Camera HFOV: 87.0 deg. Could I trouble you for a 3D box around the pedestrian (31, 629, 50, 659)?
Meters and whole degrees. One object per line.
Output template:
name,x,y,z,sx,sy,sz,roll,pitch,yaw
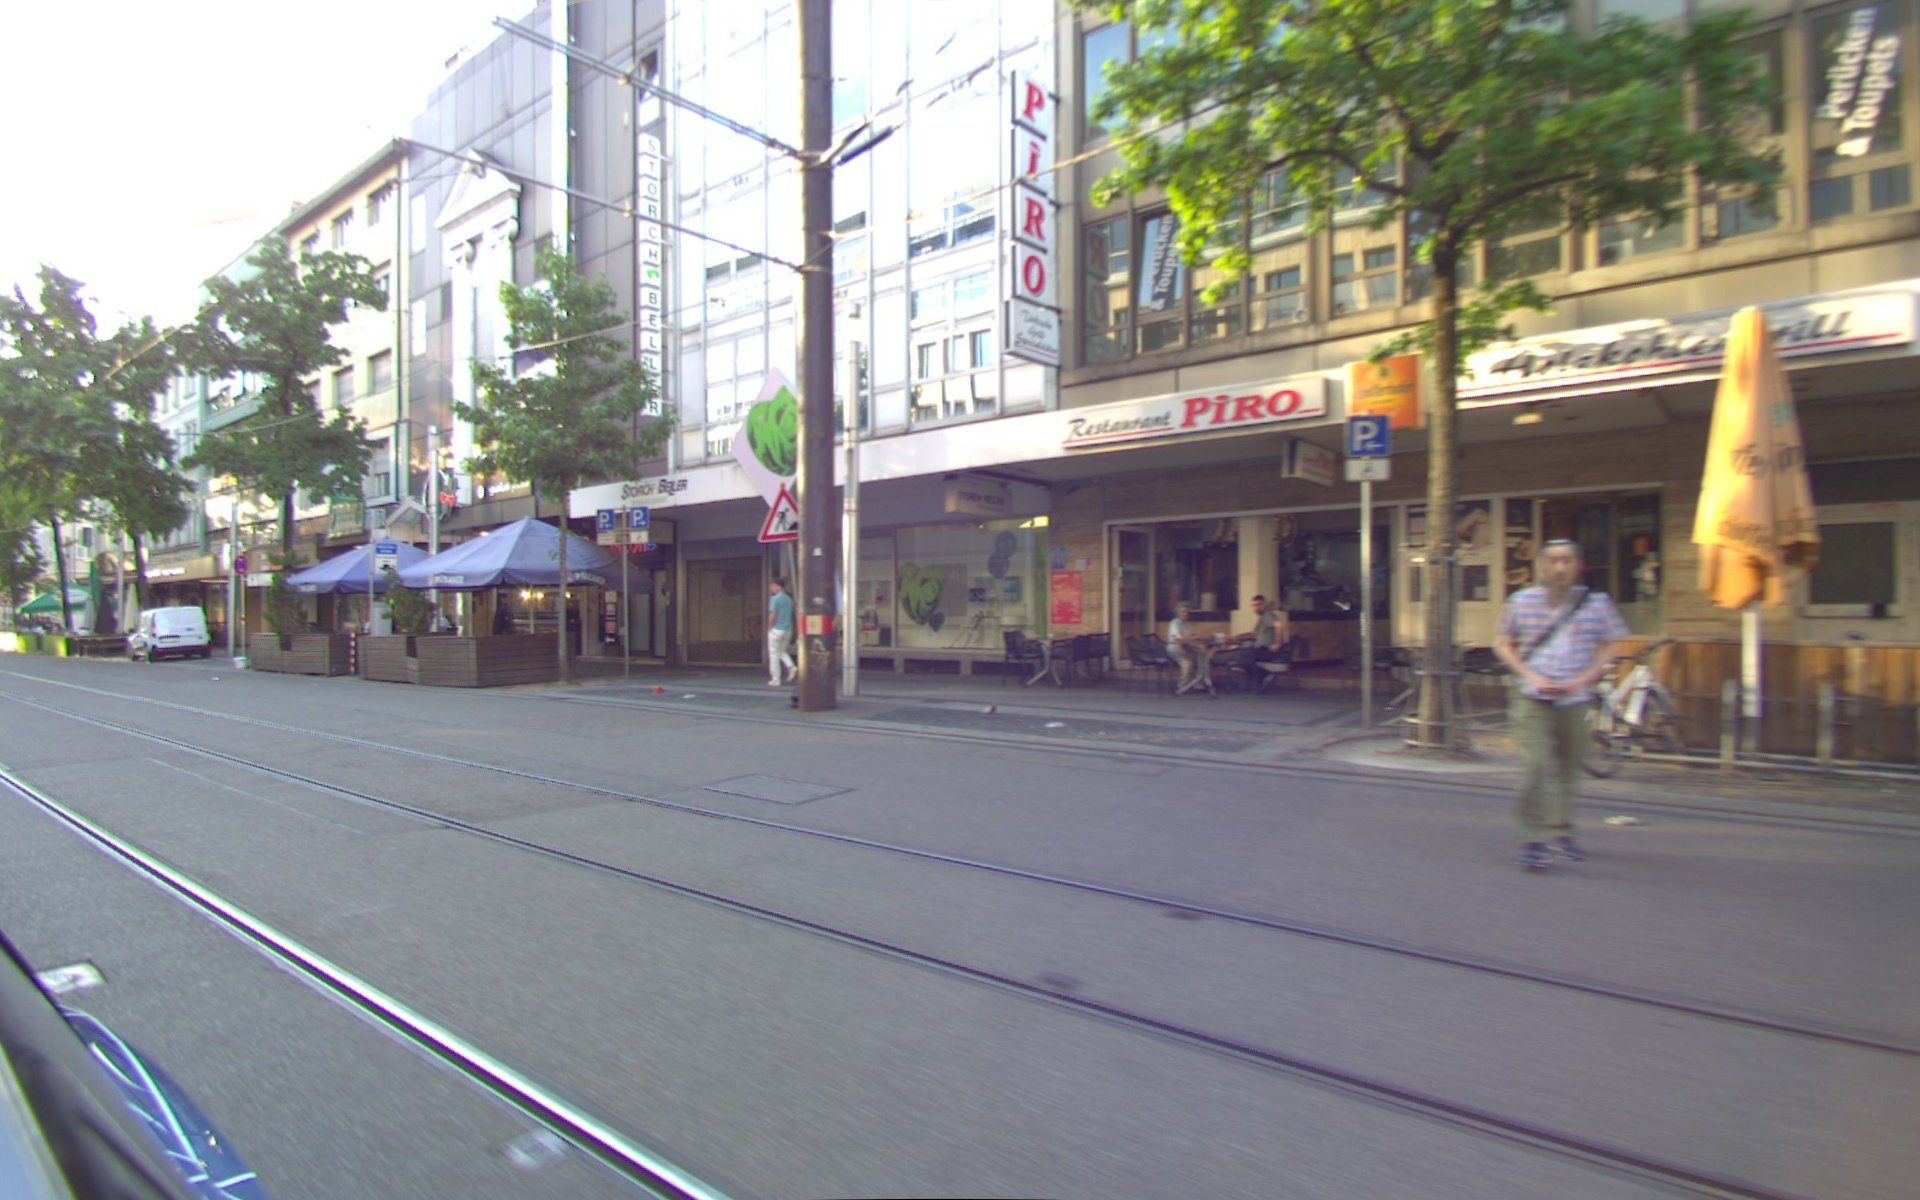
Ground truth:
pedestrian,-44.140,2.104,48.591,0.640,1.396,0.651,0,-2,-43

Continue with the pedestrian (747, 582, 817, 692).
pedestrian,-3.036,0.609,17.263,0.676,1.806,0.991,-3,1,-45

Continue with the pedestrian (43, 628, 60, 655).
pedestrian,-47.313,2.155,52.713,0.640,1.396,0.651,0,-2,-43

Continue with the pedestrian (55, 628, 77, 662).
pedestrian,-39.338,1.994,44.532,0.650,1.471,0.641,-2,-2,41

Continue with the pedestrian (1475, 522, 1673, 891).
pedestrian,3.385,0.515,5.581,0.820,1.806,0.979,-2,1,34

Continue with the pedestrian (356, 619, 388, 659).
pedestrian,-19.105,1.259,32.887,0.665,1.237,0.635,-1,4,38

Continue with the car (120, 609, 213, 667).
car,-28.251,1.321,35.970,4.328,1.835,1.807,-2,1,42

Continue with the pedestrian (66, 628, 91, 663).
pedestrian,-38.440,1.981,44.144,0.639,1.471,0.652,0,-1,-20

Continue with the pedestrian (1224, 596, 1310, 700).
pedestrian,4.163,0.629,13.716,0.911,1.335,0.664,-1,1,39

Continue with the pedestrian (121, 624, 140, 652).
pedestrian,-43.502,1.996,53.083,0.649,1.471,0.642,-2,-1,37

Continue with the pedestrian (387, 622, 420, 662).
pedestrian,-16.936,1.263,30.812,0.665,1.165,0.635,-1,2,38

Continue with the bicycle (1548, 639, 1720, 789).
bicycle,5.362,0.856,8.017,1.748,0.973,0.491,-2,1,-34

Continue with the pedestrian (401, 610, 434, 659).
pedestrian,-17.066,1.077,31.843,0.642,1.444,0.654,0,4,40

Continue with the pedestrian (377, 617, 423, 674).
pedestrian,-14.522,1.174,26.245,0.746,1.411,0.756,0,2,39

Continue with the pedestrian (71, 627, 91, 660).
pedestrian,-40.988,2.021,47.185,0.639,1.471,0.651,0,-1,-37

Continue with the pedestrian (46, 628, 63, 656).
pedestrian,-46.429,2.141,51.893,0.640,1.396,0.651,0,-2,-43

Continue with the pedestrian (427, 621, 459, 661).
pedestrian,-15.736,1.247,30.804,0.665,1.165,0.635,-1,2,38

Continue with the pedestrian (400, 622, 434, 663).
pedestrian,-16.136,1.251,30.093,0.665,1.165,0.635,-1,2,38

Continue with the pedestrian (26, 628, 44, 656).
pedestrian,-47.766,2.160,52.256,0.640,1.396,0.651,0,-2,-43

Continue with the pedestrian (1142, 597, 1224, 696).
pedestrian,3.177,0.647,14.396,0.911,1.335,0.664,-1,1,39

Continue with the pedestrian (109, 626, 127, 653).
pedestrian,-46.168,2.178,55.493,0.649,1.471,0.642,-2,-1,37

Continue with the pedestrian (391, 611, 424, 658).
pedestrian,-17.622,1.085,32.298,0.642,1.444,0.654,0,4,40

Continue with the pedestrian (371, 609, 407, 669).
pedestrian,-15.544,1.054,27.557,0.564,1.564,0.650,-1,2,38

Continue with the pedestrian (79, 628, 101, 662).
pedestrian,-38.719,1.986,45.037,0.639,1.471,0.652,0,-1,-33

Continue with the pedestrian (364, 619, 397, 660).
pedestrian,-18.469,1.249,32.245,0.665,1.237,0.635,-1,4,38
